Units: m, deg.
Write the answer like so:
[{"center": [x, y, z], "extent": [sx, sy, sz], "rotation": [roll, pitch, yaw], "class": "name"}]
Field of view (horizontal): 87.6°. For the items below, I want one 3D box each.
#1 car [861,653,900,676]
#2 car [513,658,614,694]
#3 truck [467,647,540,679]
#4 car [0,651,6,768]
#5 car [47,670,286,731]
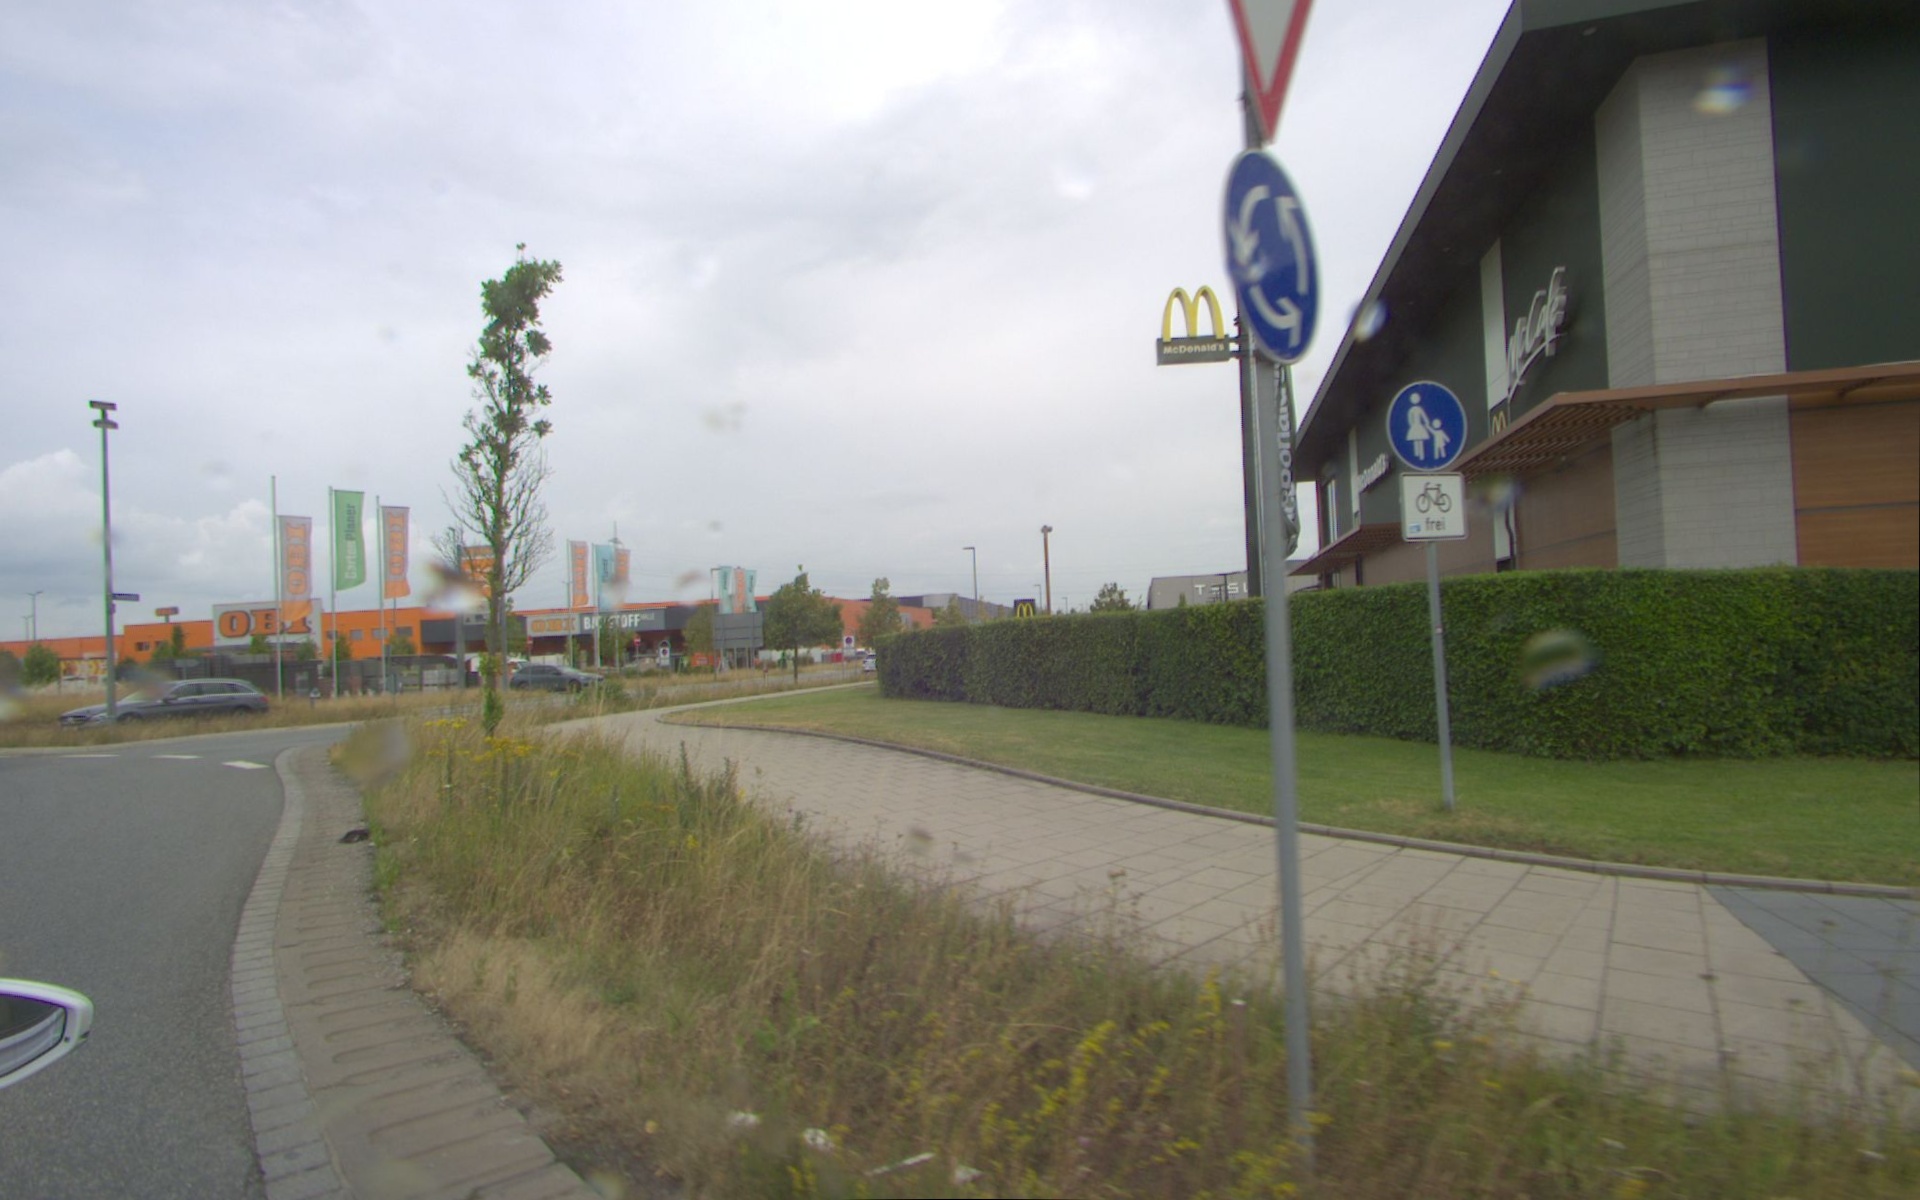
[{"center": [-5.389, 4.357, 68.367], "extent": [1.779, 1.482, 4.001], "rotation": [0, -3, 9], "class": "car"}, {"center": [-20.406, 3.908, 51.559], "extent": [4.601, 1.524, 1.999], "rotation": [-5, -4, 18], "class": "car"}, {"center": [-41.181, 5.703, 90.430], "extent": [5.444, 2.513, 2.443], "rotation": [-4, -4, 6], "class": "truck"}, {"center": [-15.371, 1.524, 13.972], "extent": [3.934, 1.618, 1.738], "rotation": [-2, -3, 27], "class": "car"}, {"center": [-20.830, 2.615, 26.569], "extent": [1.895, 1.420, 4.683], "rotation": [-3, -4, 19], "class": "car"}]
